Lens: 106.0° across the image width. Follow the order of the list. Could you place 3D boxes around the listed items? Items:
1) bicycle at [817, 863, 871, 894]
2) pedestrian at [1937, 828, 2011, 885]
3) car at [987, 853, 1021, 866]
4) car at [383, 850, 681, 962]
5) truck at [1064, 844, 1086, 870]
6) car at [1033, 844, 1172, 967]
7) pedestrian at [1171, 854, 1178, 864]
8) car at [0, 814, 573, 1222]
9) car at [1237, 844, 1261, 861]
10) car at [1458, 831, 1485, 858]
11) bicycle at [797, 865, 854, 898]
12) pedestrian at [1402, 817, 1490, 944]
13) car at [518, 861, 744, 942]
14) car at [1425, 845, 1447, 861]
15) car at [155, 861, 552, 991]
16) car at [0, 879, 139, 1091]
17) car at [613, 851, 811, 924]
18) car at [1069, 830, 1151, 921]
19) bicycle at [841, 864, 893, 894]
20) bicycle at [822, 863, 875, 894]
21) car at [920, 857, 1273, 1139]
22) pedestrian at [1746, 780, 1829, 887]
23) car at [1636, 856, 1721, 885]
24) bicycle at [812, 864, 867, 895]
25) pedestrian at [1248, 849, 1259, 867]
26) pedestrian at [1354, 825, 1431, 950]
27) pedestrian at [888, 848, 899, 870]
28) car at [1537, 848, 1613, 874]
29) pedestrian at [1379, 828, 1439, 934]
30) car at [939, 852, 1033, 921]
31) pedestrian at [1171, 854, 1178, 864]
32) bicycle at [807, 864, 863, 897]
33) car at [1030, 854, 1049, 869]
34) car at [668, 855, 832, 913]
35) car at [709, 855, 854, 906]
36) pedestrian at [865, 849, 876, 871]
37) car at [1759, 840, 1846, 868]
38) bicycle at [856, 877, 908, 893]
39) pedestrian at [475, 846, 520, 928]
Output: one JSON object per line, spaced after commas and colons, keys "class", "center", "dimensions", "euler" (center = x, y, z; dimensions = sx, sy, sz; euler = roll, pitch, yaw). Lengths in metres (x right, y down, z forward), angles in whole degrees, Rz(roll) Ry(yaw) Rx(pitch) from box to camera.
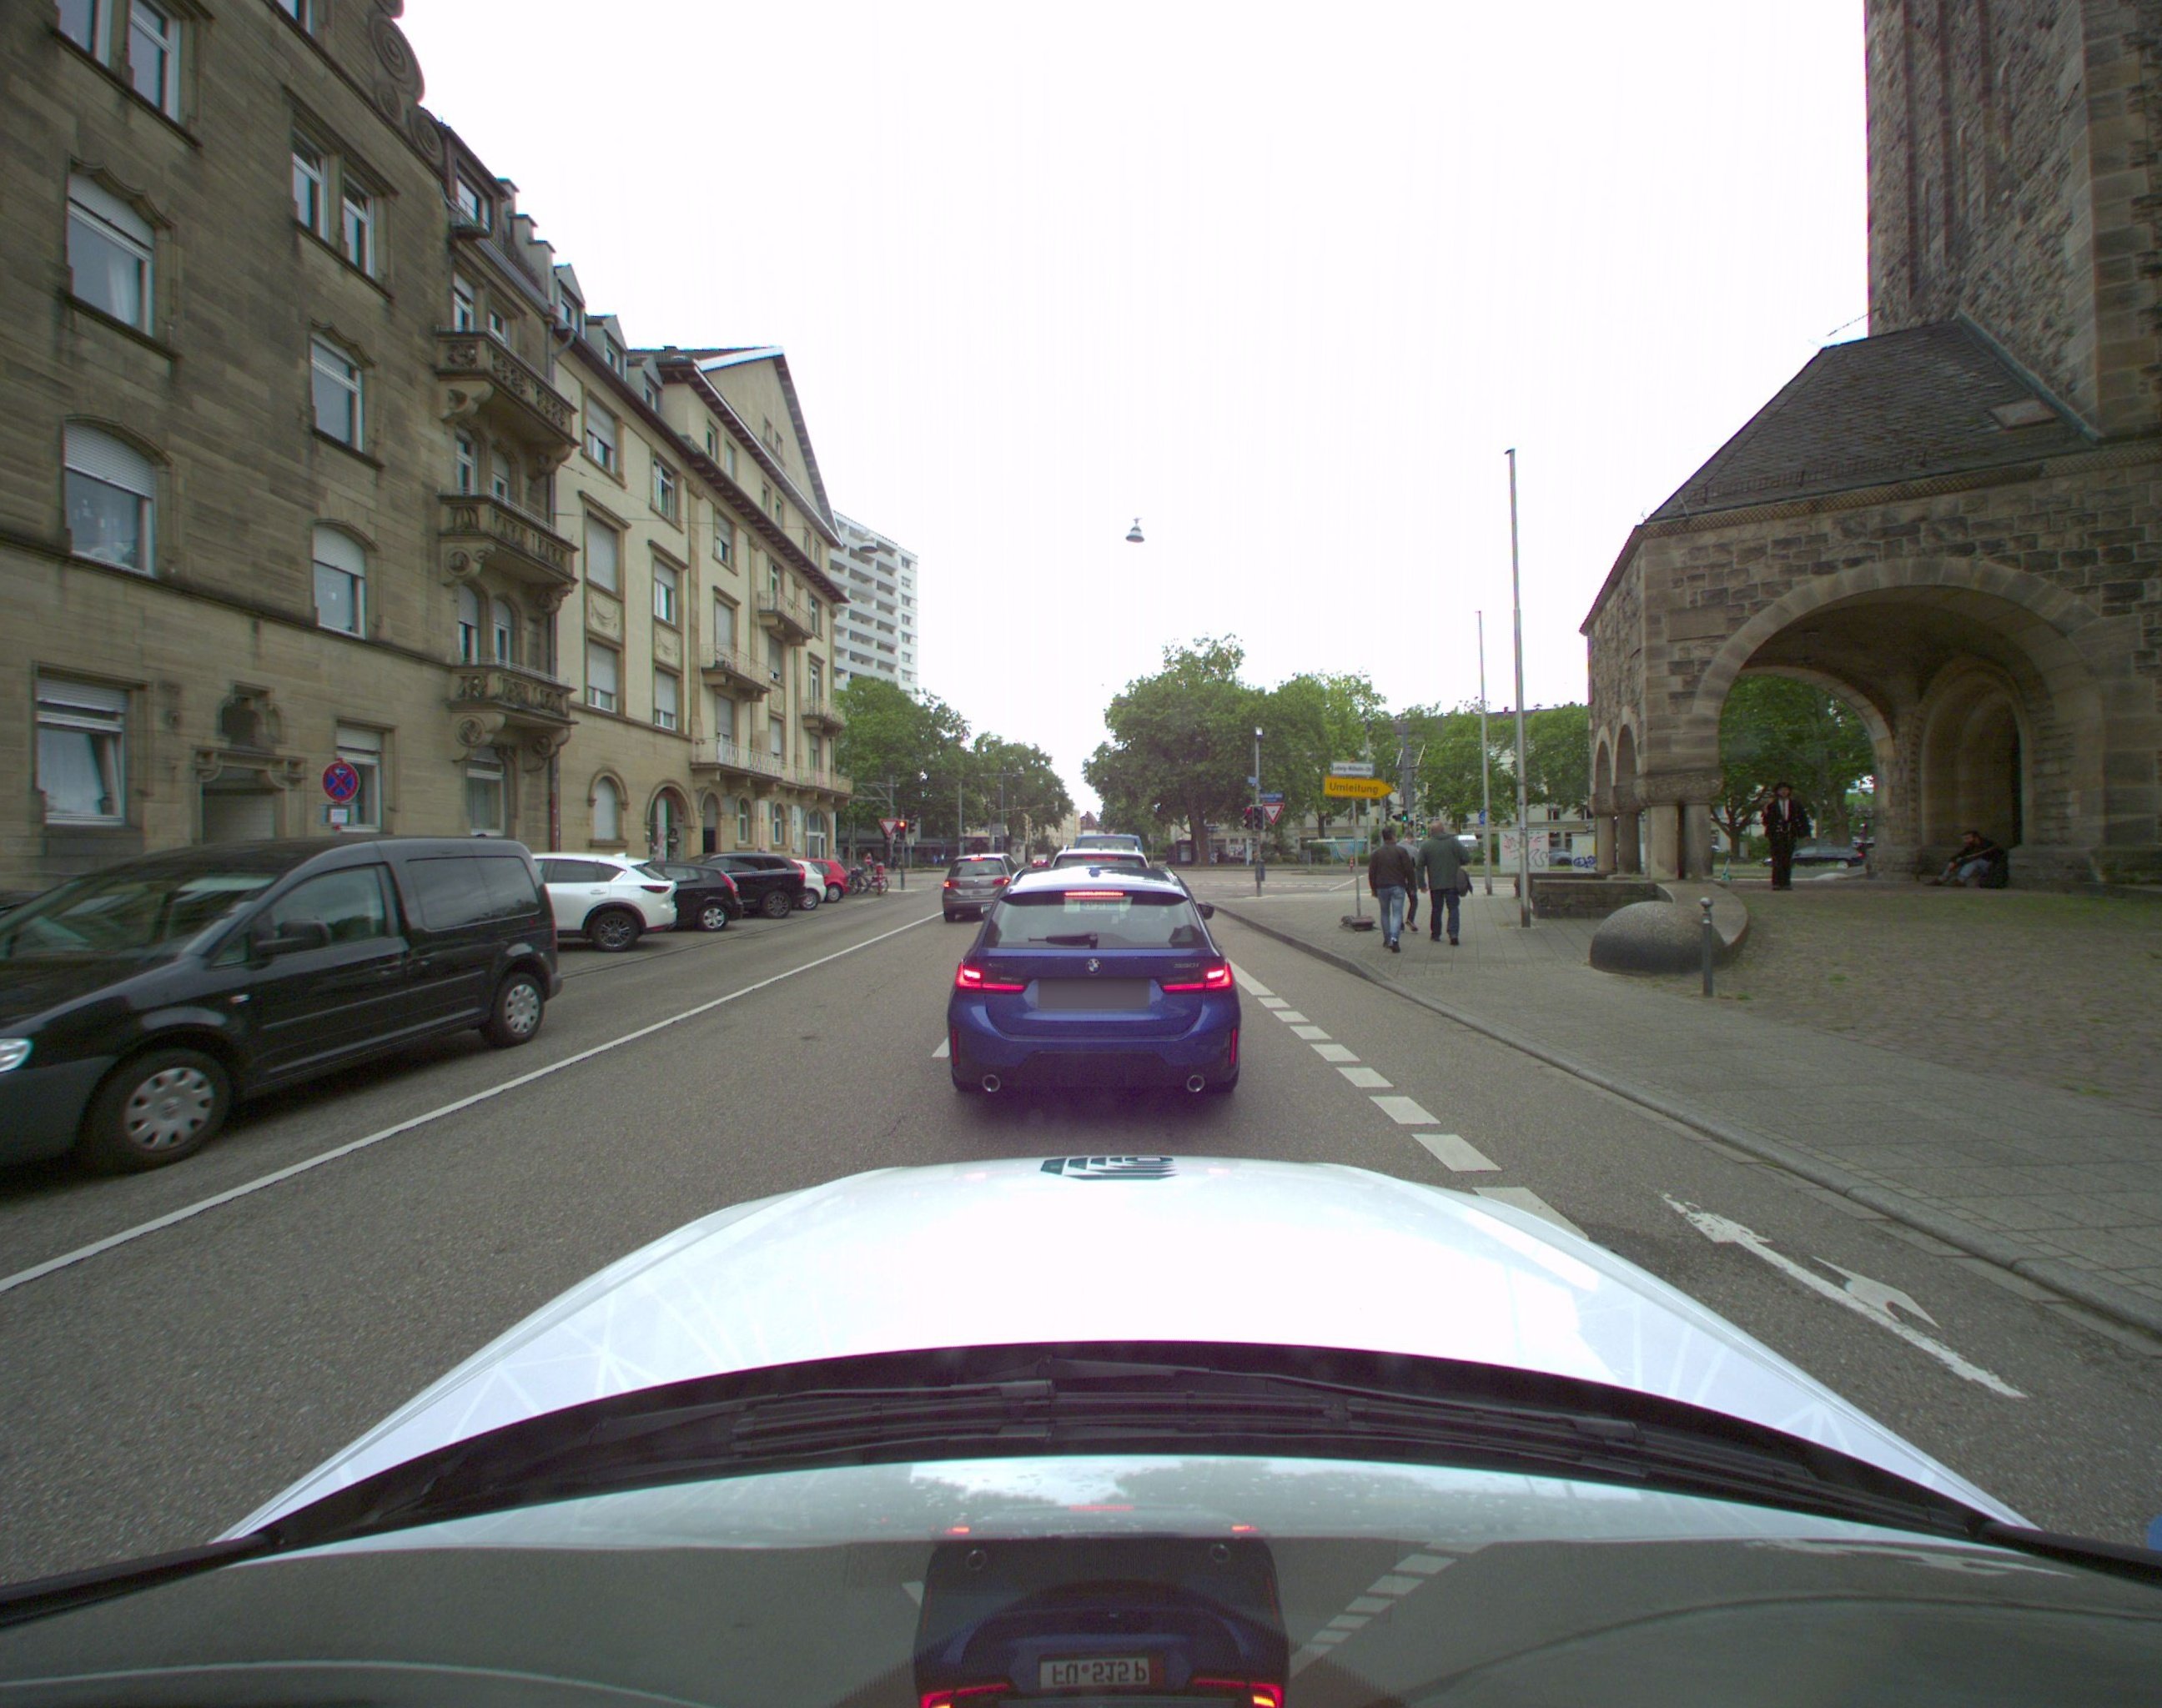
{"class": "bicycle", "center": [-9.151, 0.947, 31.535], "dimensions": [1.880, 1.035, 0.442], "euler": [5, 0, -1]}
{"class": "pedestrian", "center": [15.485, 0.046, 14.143], "dimensions": [0.665, 0.951, 0.618], "euler": [-1, 0, 24]}
{"class": "car", "center": [-10.082, 0.757, 106.965], "dimensions": [4.014, 1.706, 1.980], "euler": [0, -1, -32]}
{"class": "car", "center": [-9.281, 0.796, 14.208], "dimensions": [4.004, 1.723, 1.827], "euler": [0, 0, -23]}
{"class": "truck", "center": [-0.602, 0.292, 80.987], "dimensions": [2.068, 2.408, 5.461], "euler": [-2, 0, 0]}
{"class": "car", "center": [0.343, 0.677, 12.752], "dimensions": [1.808, 1.592, 4.002], "euler": [-1, 0, 2]}
{"class": "pedestrian", "center": [11.852, 0.655, 102.944], "dimensions": [0.850, 1.314, 0.763], "euler": [-1, 0, 1]}
{"class": "car", "center": [-5.633, 0.739, 5.558], "dimensions": [1.688, 1.803, 4.129], "euler": [-2, 0, 0]}
{"class": "car", "center": [22.113, -0.201, 107.084], "dimensions": [2.154, 2.200, 4.024], "euler": [-1, 0, 26]}
{"class": "car", "center": [39.221, -0.929, 81.777], "dimensions": [2.214, 2.639, 5.480], "euler": [-1, 0, 28]}
{"class": "bicycle", "center": [-9.272, 0.987, 29.522], "dimensions": [1.877, 1.035, 0.443], "euler": [4, 0, 4]}
{"class": "pedestrian", "center": [5.354, 0.373, 12.007], "dimensions": [0.801, 1.758, 0.969], "euler": [-3, 0, 1]}
{"class": "car", "center": [-9.444, 0.910, 17.206], "dimensions": [4.017, 1.494, 1.713], "euler": [0, 0, -36]}
{"class": "car", "center": [35.005, -0.151, 80.202], "dimensions": [1.649, 1.515, 3.962], "euler": [-1, 0, 28]}
{"class": "car", "center": [-9.631, 0.867, 11.209], "dimensions": [3.830, 1.497, 1.552], "euler": [1, -1, -37]}
{"class": "car", "center": [-9.405, 0.904, 5.262], "dimensions": [4.016, 1.417, 1.644], "euler": [1, -1, -34]}
{"class": "car", "center": [-9.219, 0.768, 20.541], "dimensions": [4.248, 1.651, 1.711], "euler": [0, 0, -41]}
{"class": "car", "center": [0.722, 0.471, 20.290], "dimensions": [1.808, 2.005, 4.002], "euler": [-1, 0, 2]}
{"class": "bicycle", "center": [-8.588, 0.992, 32.706], "dimensions": [1.880, 1.035, 0.442], "euler": [5, 0, -1]}
{"class": "bicycle", "center": [-9.167, 0.964, 32.171], "dimensions": [1.880, 1.035, 0.442], "euler": [5, 0, -1]}
{"class": "car", "center": [0.147, 0.761, 6.394], "dimensions": [1.808, 1.405, 4.322], "euler": [-1, 0, 2]}
{"class": "pedestrian", "center": [12.408, -0.344, 14.338], "dimensions": [0.806, 1.808, 1.025], "euler": [-1, 0, 22]}
{"class": "car", "center": [36.490, 1.007, 49.840], "dimensions": [3.901, 1.711, 1.697], "euler": [-1, 0, 24]}
{"class": "bicycle", "center": [-9.154, 0.968, 30.872], "dimensions": [1.880, 1.035, 0.442], "euler": [5, 0, -1]}
{"class": "pedestrian", "center": [16.364, 0.372, 77.205], "dimensions": [0.781, 1.743, 0.925], "euler": [-1, 0, 0]}
{"class": "pedestrian", "center": [4.431, 0.461, 11.641], "dimensions": [0.672, 1.686, 0.969], "euler": [-3, 0, 2]}
{"class": "pedestrian", "center": [-15.404, 0.436, 66.912], "dimensions": [0.672, 1.771, 0.726], "euler": [-1, 0, 1]}
{"class": "car", "center": [31.407, 0.428, 51.880], "dimensions": [3.940, 1.561, 1.697], "euler": [-1, 0, 24]}
{"class": "pedestrian", "center": [5.433, 0.433, 13.542], "dimensions": [0.629, 1.673, 0.971], "euler": [-3, 0, 8]}
{"class": "car", "center": [-2.269, 0.734, 20.393], "dimensions": [1.726, 1.525, 4.002], "euler": [-1, 0, 2]}
{"class": "pedestrian", "center": [11.875, 0.636, 103.799], "dimensions": [0.814, 1.372, 0.763], "euler": [-1, 0, 1]}
{"class": "bicycle", "center": [-9.156, 0.986, 30.336], "dimensions": [1.880, 1.035, 0.442], "euler": [5, 0, -1]}
{"class": "car", "center": [-4.217, 0.770, 83.474], "dimensions": [1.643, 1.447, 3.512], "euler": [-1, 0, 2]}
{"class": "car", "center": [-9.350, 0.821, 23.199], "dimensions": [4.021, 1.472, 1.546], "euler": [2, 0, -41]}
{"class": "car", "center": [-9.499, 0.806, 26.049], "dimensions": [1.663, 1.472, 4.024], "euler": [1, 0, 43]}
{"class": "pedestrian", "center": [-17.263, 0.488, 66.775], "dimensions": [0.672, 1.771, 0.726], "euler": [-1, 0, 1]}
{"class": "car", "center": [41.716, 0.010, 47.180], "dimensions": [3.425, 1.561, 1.697], "euler": [-1, 0, 24]}
{"class": "bicycle", "center": [-8.224, 1.283, 33.737], "dimensions": [1.880, 0.445, 1.029], "euler": [5, 2, -1]}
{"class": "pedestrian", "center": [-12.924, 0.725, 18.056], "dimensions": [0.564, 1.785, 0.551], "euler": [-1, 0, 3]}
